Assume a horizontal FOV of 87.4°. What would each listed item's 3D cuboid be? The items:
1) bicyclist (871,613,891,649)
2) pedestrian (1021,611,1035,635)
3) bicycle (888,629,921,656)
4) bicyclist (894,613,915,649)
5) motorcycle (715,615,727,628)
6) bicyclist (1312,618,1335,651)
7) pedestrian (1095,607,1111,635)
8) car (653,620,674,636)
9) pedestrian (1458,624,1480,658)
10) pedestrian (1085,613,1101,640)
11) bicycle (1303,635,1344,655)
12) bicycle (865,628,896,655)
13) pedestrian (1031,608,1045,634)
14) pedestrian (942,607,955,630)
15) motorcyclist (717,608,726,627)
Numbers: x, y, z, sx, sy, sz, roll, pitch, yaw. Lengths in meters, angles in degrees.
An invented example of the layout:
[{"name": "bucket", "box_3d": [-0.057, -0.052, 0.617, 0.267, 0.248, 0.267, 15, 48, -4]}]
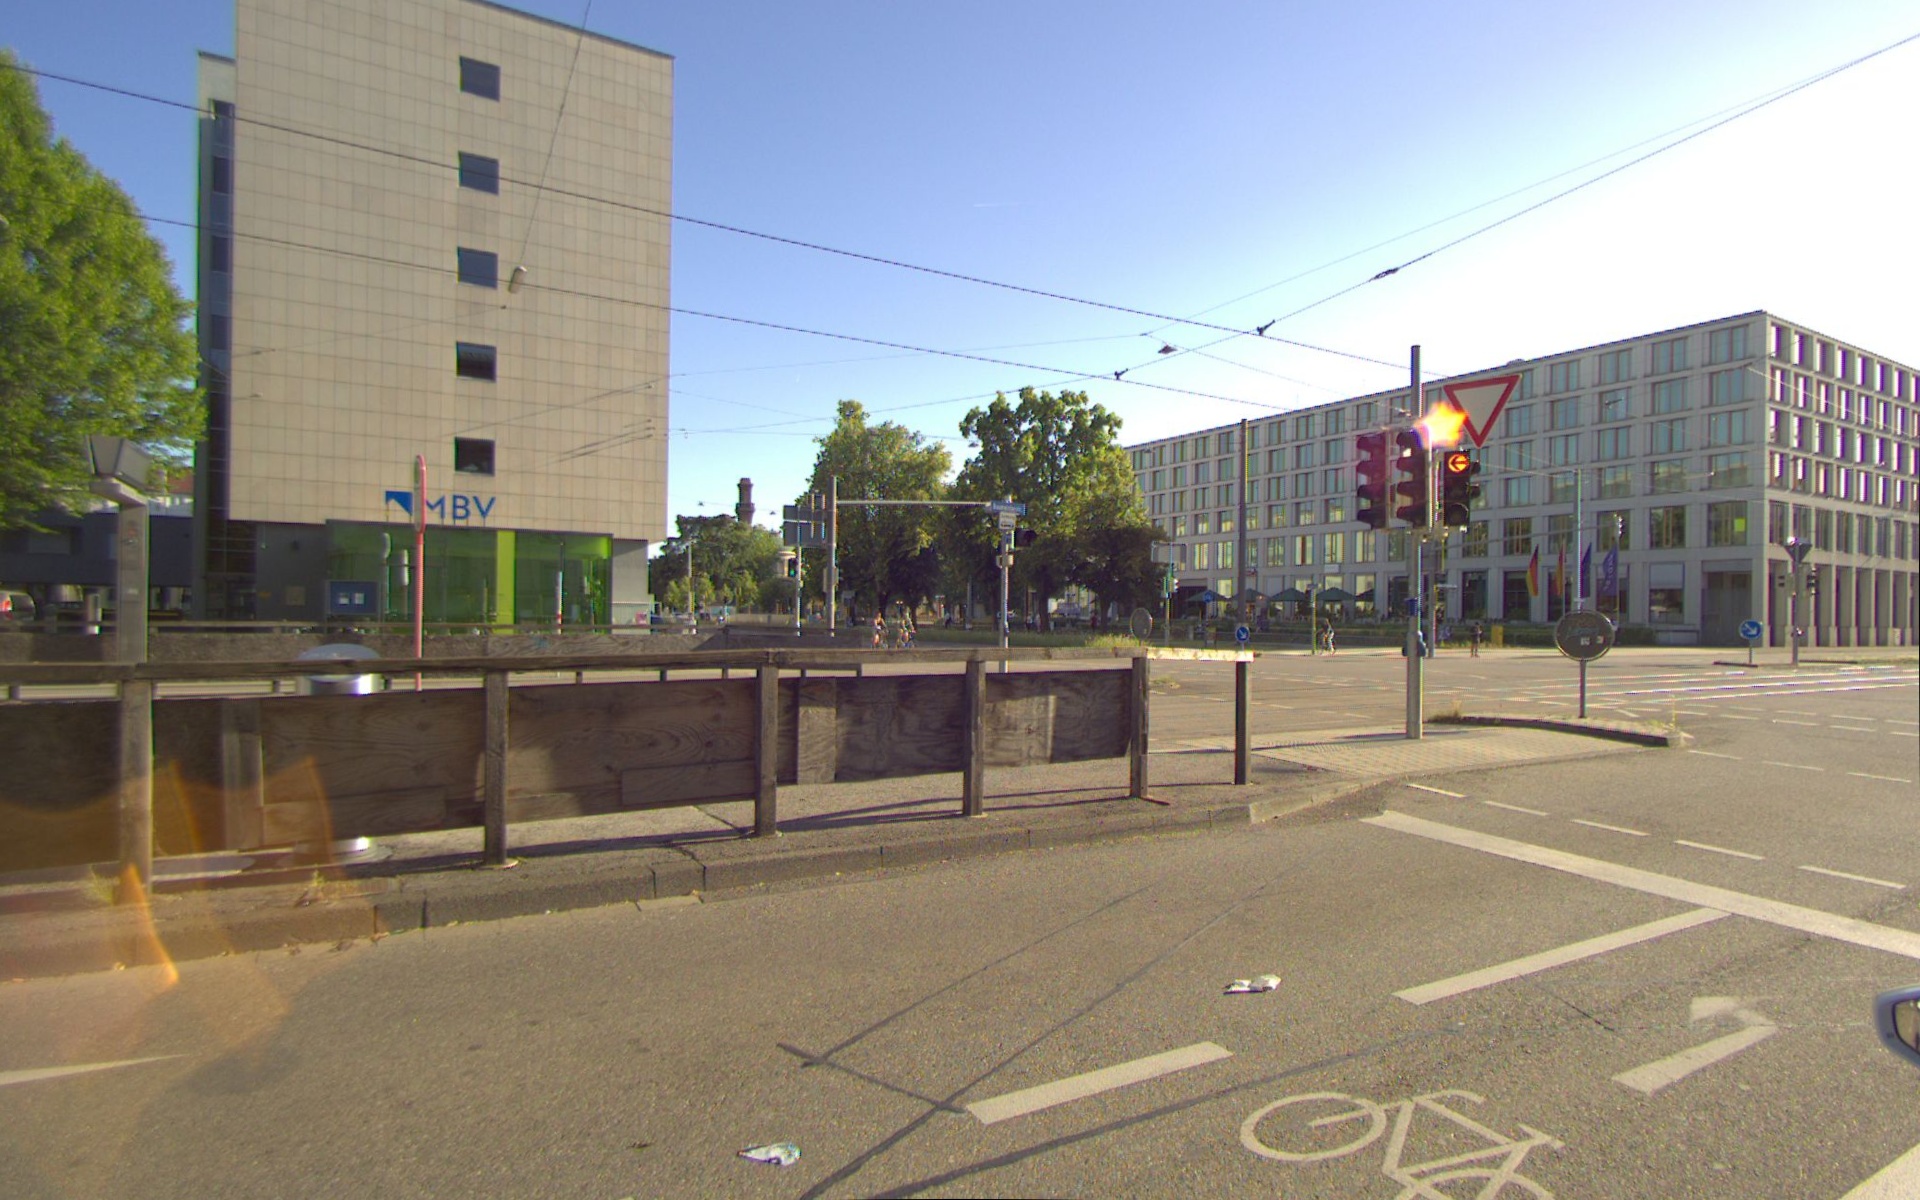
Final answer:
[{"name": "bicyclist", "box_3d": [-3.467, 1.354, 43.905, 0.647, 1.544, 0.615, 1, -1, -32]}, {"name": "pedestrian", "box_3d": [5.384, 1.838, 79.835, 0.862, 1.925, 0.714, 2, 0, -24]}, {"name": "bicycle", "box_3d": [-2.446, 1.842, 43.963, 0.616, 1.148, 1.869, 1, -1, -31]}, {"name": "bicyclist", "box_3d": [-2.430, 1.362, 43.956, 0.602, 1.544, 0.709, 1, -1, -32]}, {"name": "motorcycle", "box_3d": [-20.775, 1.880, 87.374, 0.524, 1.153, 1.449, 1, -1, -34]}, {"name": "bicyclist", "box_3d": [17.884, 1.703, 49.411, 0.765, 1.610, 0.759, 0, -2, -15]}, {"name": "pedestrian", "box_3d": [10.603, 1.520, 74.379, 0.812, 2.040, 0.841, 2, 0, -20]}, {"name": "car", "box_3d": [-33.590, 3.175, 113.719, 1.611, 1.639, 3.623, 2, 0, -28]}, {"name": "pedestrian", "box_3d": [24.890, 1.995, 49.104, 0.586, 1.610, 0.768, 1, -1, -40]}, {"name": "pedestrian", "box_3d": [9.778, 1.941, 73.787, 0.861, 1.925, 0.714, 2, 0, -20]}, {"name": "bicycle", "box_3d": [17.875, 2.205, 49.400, 1.834, 0.947, 0.760, 1, -1, -18]}, {"name": "bicycle", "box_3d": [-3.488, 1.815, 43.945, 0.574, 1.148, 1.776, 1, -1, -31]}, {"name": "pedestrian", "box_3d": [6.240, 1.660, 80.235, 0.813, 2.040, 0.840, 2, 0, -22]}, {"name": "pedestrian", "box_3d": [-1.063, 1.685, 91.665, 0.816, 2.040, 0.837, 2, 0, -32]}, {"name": "motorcyclist", "box_3d": [-20.754, 1.512, 87.356, 0.561, 1.598, 0.642, 1, -1, -34]}]
